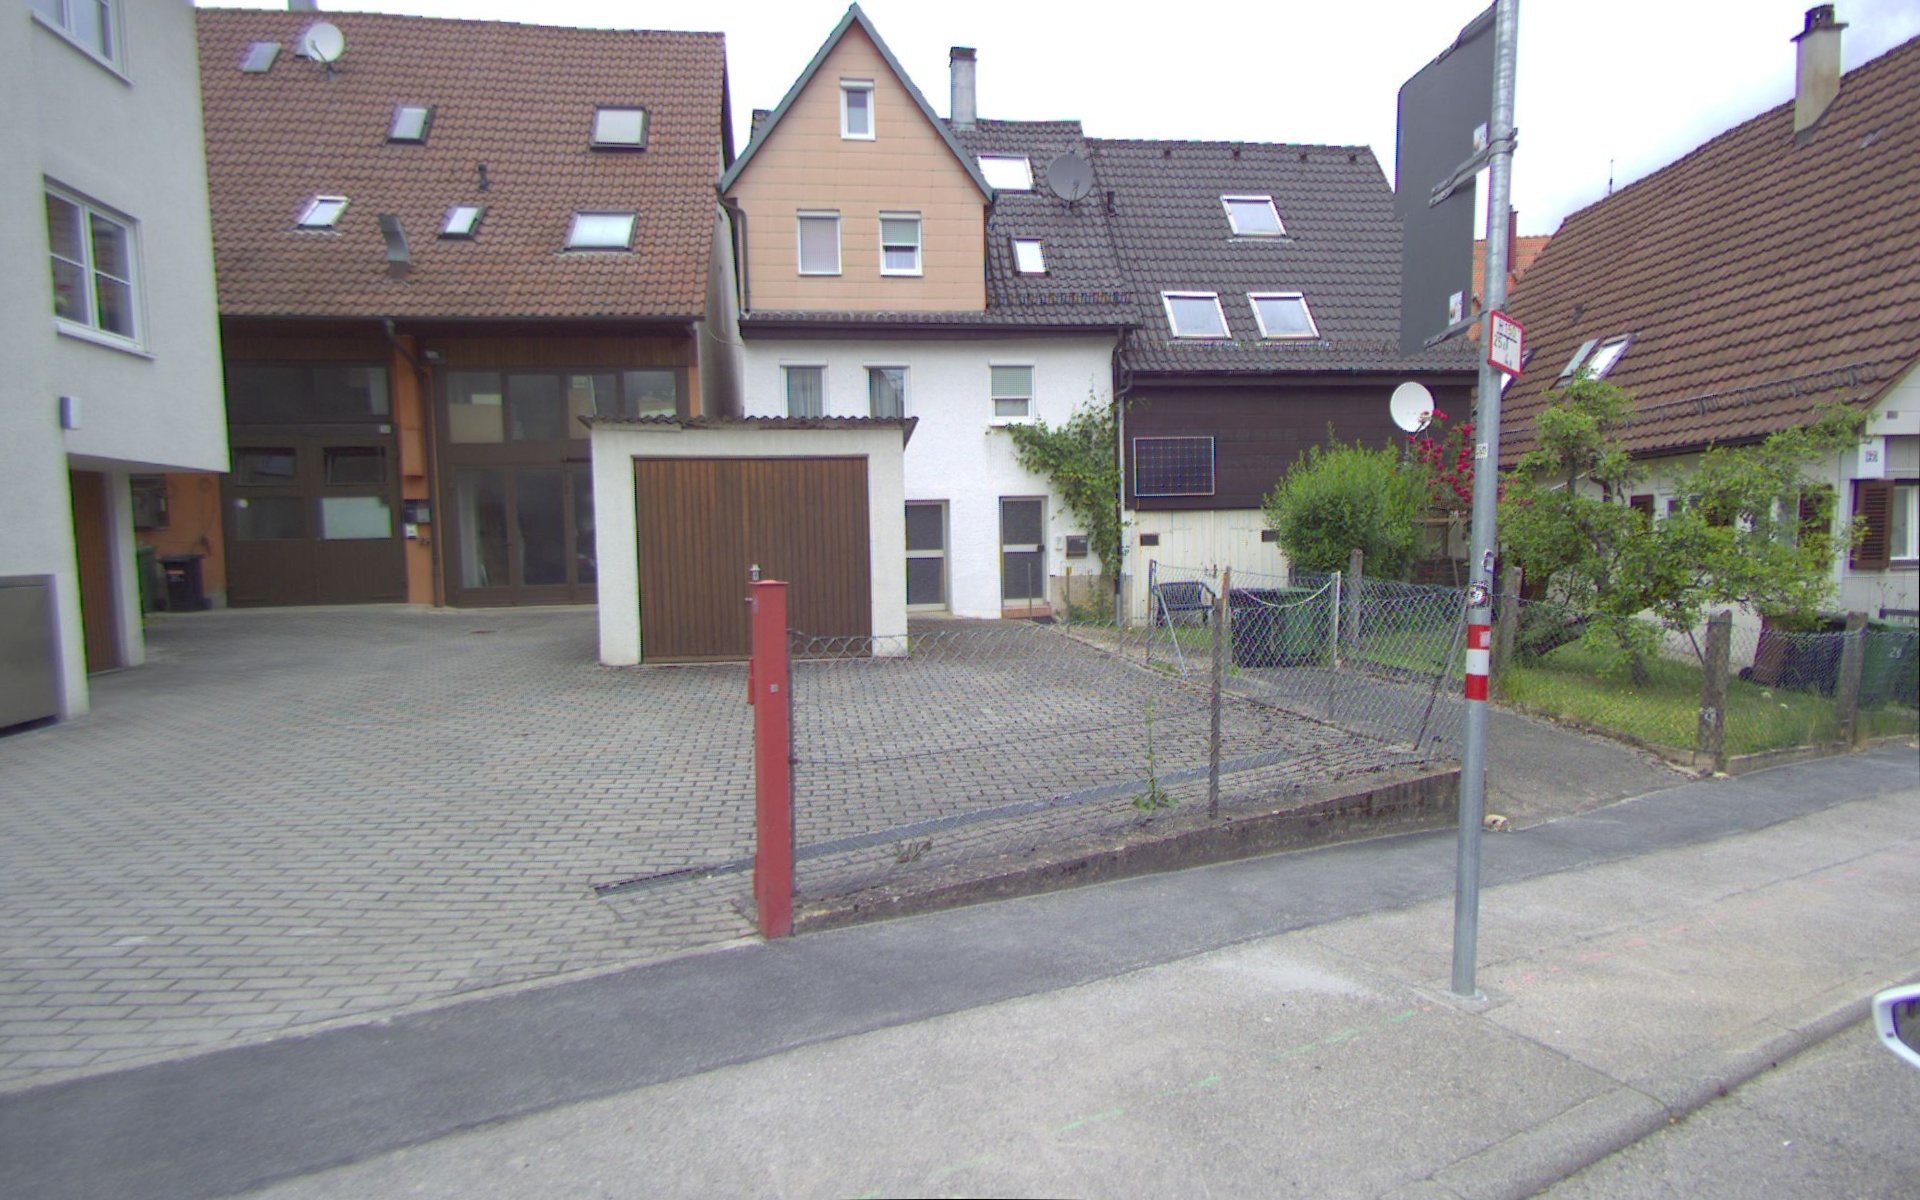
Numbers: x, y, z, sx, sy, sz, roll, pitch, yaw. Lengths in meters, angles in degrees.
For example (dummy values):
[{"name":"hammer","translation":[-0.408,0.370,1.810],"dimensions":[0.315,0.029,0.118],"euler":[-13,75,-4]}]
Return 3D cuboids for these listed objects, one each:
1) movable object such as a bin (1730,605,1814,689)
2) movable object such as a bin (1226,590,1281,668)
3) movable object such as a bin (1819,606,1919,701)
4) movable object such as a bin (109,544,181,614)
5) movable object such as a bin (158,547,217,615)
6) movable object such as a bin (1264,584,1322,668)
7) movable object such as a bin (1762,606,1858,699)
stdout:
[{"name":"movable object such as a bin","translation":[9.415,0.537,11.663],"dimensions":[0.444,0.890,0.495],"euler":[4,5,-2]},{"name":"movable object such as a bin","translation":[3.498,0.344,11.982],"dimensions":[0.482,0.905,0.376],"euler":[1,2,-15]},{"name":"movable object such as a bin","translation":[9.558,0.551,10.558],"dimensions":[0.481,0.896,0.528],"euler":[4,5,-3]},{"name":"movable object such as a bin","translation":[-13.077,-0.345,16.135],"dimensions":[0.578,1.076,0.772],"euler":[1,3,-11]},{"name":"movable object such as a bin","translation":[-12.516,-0.311,16.290],"dimensions":[0.505,1.076,0.660],"euler":[1,3,-11]},{"name":"movable object such as a bin","translation":[4.022,0.311,12.139],"dimensions":[0.499,0.994,0.399],"euler":[1,1,-15]},{"name":"movable object such as a bin","translation":[9.385,0.569,11.112],"dimensions":[0.481,0.929,0.528],"euler":[4,5,-3]}]
